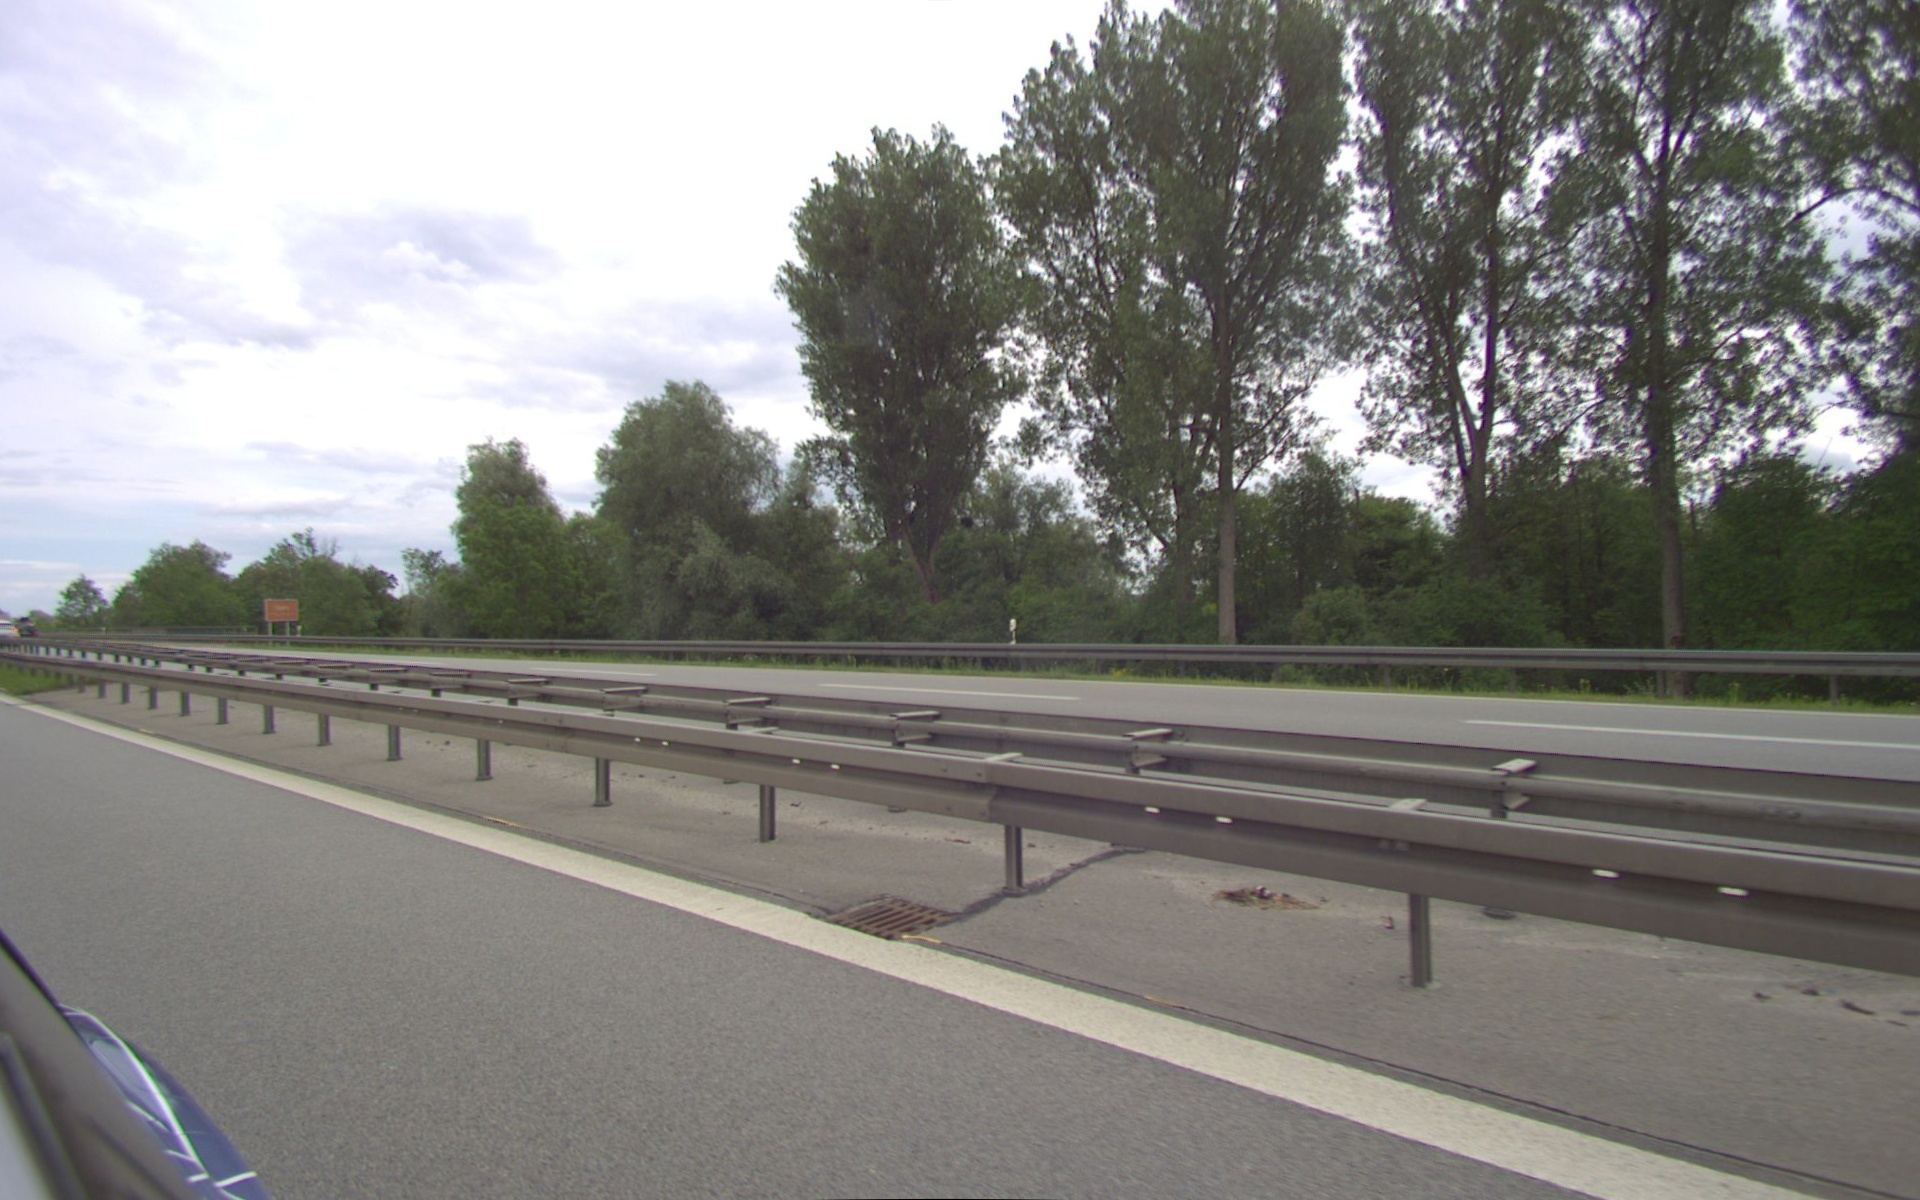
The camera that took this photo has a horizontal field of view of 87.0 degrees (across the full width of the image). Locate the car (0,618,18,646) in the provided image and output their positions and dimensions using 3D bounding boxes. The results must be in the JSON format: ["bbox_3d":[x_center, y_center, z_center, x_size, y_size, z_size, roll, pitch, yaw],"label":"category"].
[{"bbox_3d":[-57.465,1.891,59.890,5.026,1.627,1.973,-1,-2,41],"label":"car"}]
